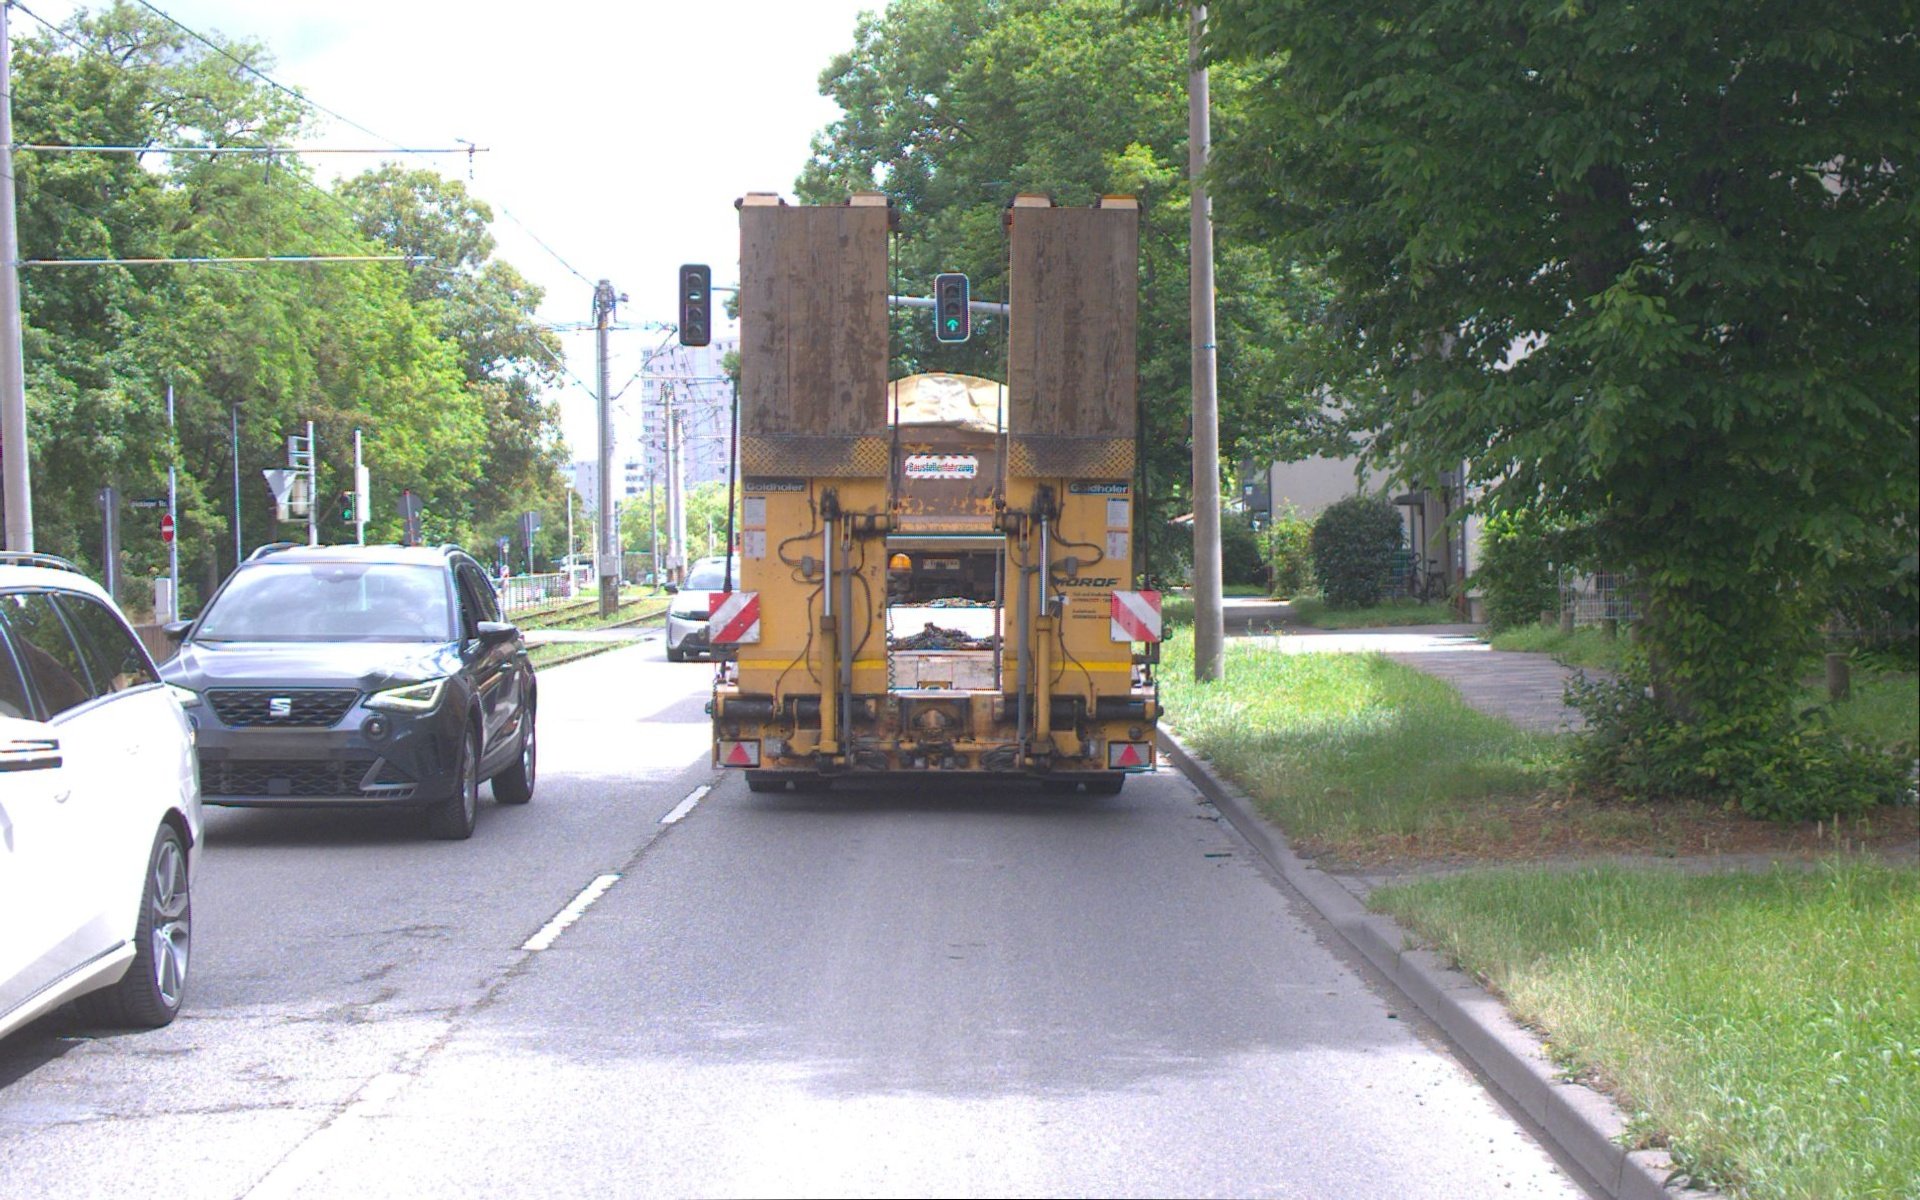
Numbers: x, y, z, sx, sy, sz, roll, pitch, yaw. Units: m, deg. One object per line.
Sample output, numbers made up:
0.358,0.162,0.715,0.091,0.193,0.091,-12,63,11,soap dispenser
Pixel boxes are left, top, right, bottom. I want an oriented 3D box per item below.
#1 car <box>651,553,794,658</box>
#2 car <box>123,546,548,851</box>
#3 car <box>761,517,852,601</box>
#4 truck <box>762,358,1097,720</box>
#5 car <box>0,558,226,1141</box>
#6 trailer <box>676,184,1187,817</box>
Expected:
-3.316,0.042,48.641,1.730,1.412,3.984,0,1,0,car
-3.338,0.459,19.042,1.650,1.515,3.866,0,1,0,car
-3.599,-0.982,81.290,1.942,1.933,4.317,0,1,0,car
-0.285,-0.599,34.040,2.917,3.156,7.680,0,1,0,truck
-3.399,0.632,9.356,1.879,1.476,4.529,0,1,-1,car
-0.226,-0.634,24.687,2.822,3.512,11.052,0,1,-1,trailer
